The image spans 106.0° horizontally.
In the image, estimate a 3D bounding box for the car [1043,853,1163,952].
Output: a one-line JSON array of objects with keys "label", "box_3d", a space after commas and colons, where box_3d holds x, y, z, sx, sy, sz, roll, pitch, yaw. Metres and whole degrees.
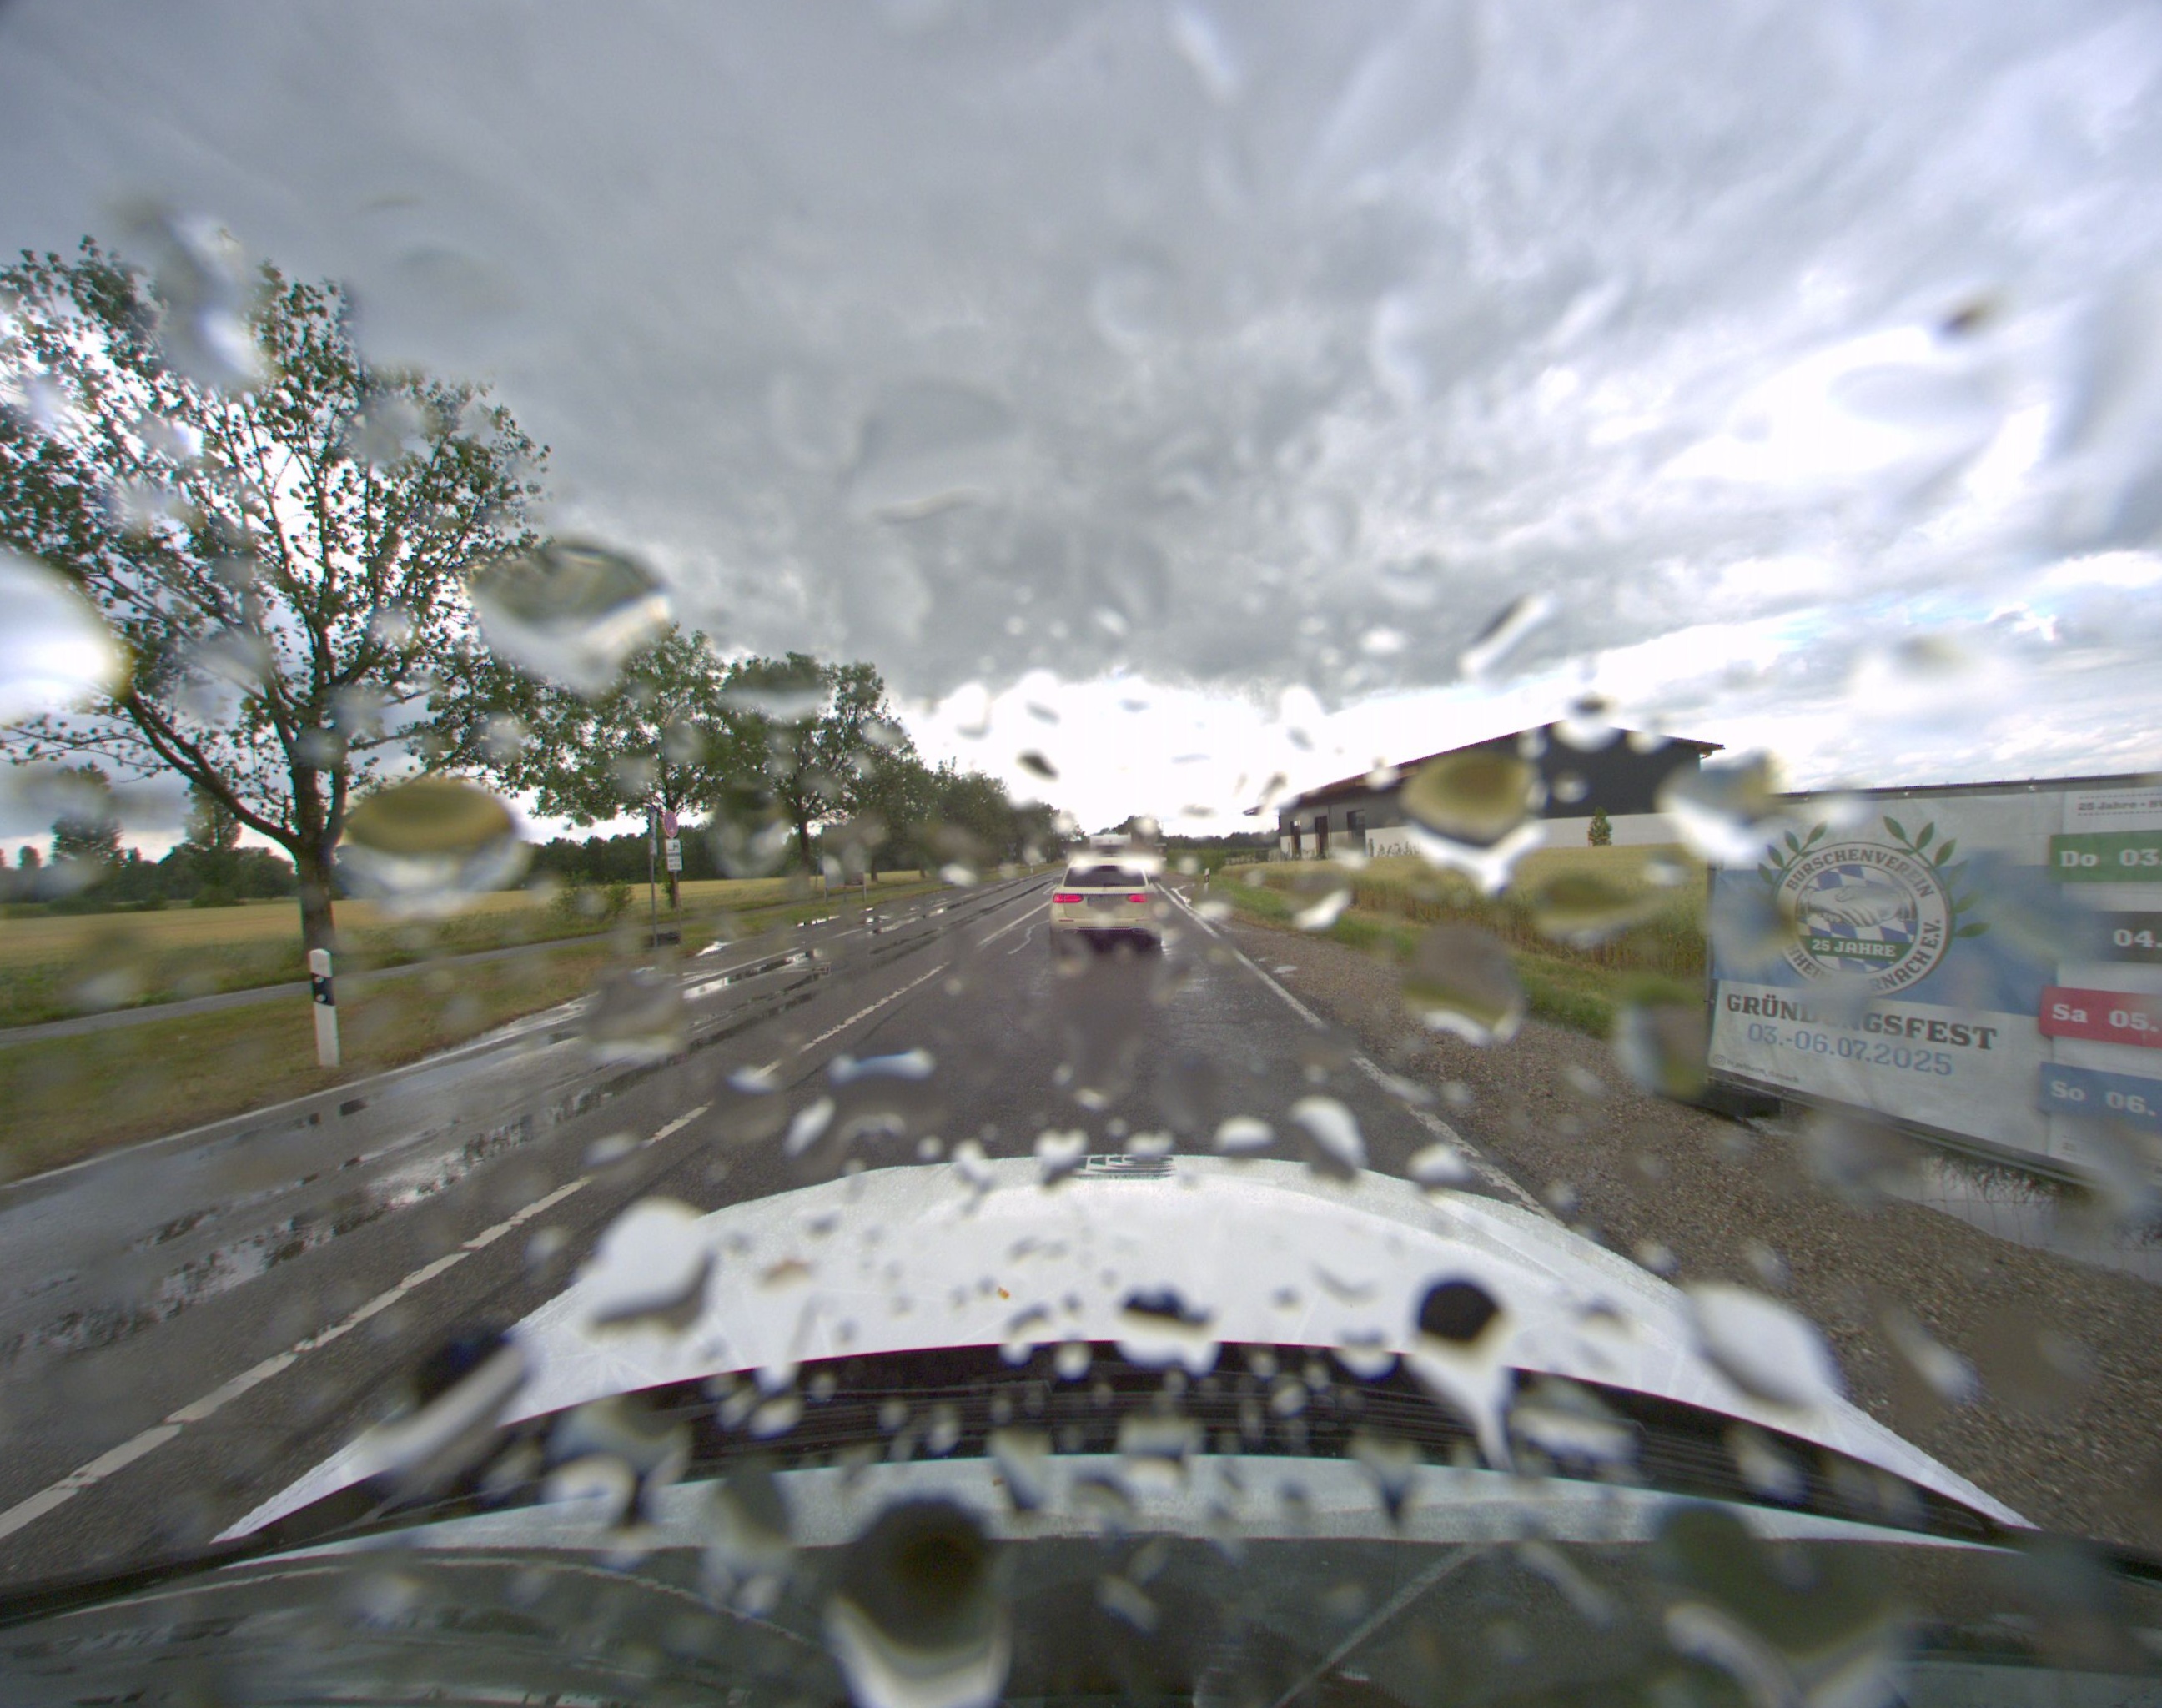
[{"label": "car", "box_3d": [0.438, 0.746, 14.456, 1.790, 1.464, 4.034, -1, 0, 3]}]

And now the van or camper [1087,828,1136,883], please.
[{"label": "van or camper", "box_3d": [1.847, 0.099, 47.002, 2.486, 2.831, 5.939, -3, 0, 3]}]

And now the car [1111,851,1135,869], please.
[{"label": "car", "box_3d": [3.879, 0.531, 74.287, 1.885, 1.590, 3.935, -2, 0, 6]}]

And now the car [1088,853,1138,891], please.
[{"label": "car", "box_3d": [1.310, 0.690, 33.597, 1.887, 1.429, 3.929, -1, 0, 2]}]
